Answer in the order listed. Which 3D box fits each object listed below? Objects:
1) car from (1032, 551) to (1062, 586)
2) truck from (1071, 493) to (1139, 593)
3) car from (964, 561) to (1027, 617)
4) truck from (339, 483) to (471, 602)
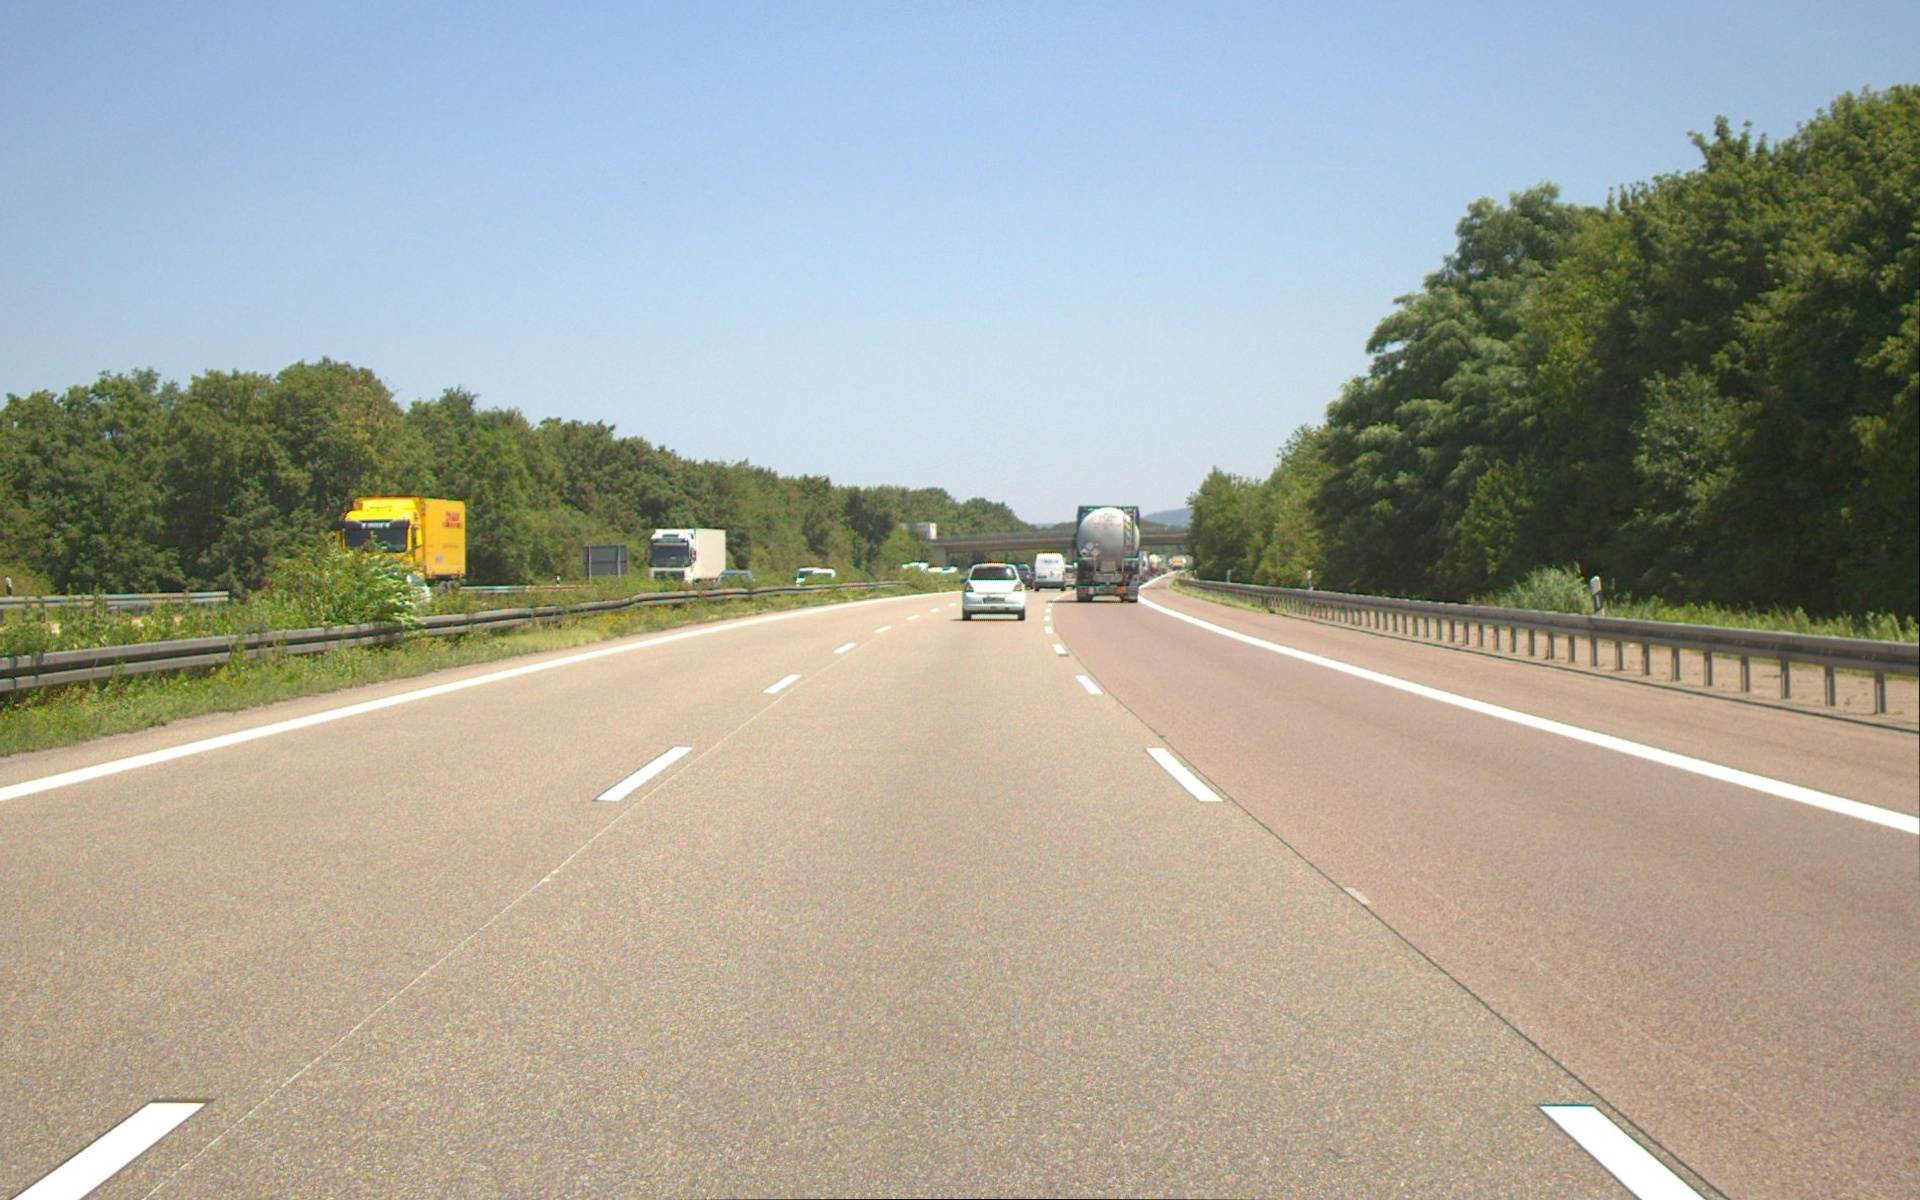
[{"bbox_3d":[5.808,-2.098,229.348,1.993,2.335,4.387,0,1,1],"label":"car"},{"bbox_3d":[6.052,-2.363,144.425,2.739,4.038,10.454,0,0,2],"label":"truck"},{"bbox_3d":[0.971,-0.309,92.831,1.627,1.474,4.000,0,0,2],"label":"car"},{"bbox_3d":[-19.555,-1.946,121.713,2.750,4.026,10.792,0,0,1],"label":"truck"}]
